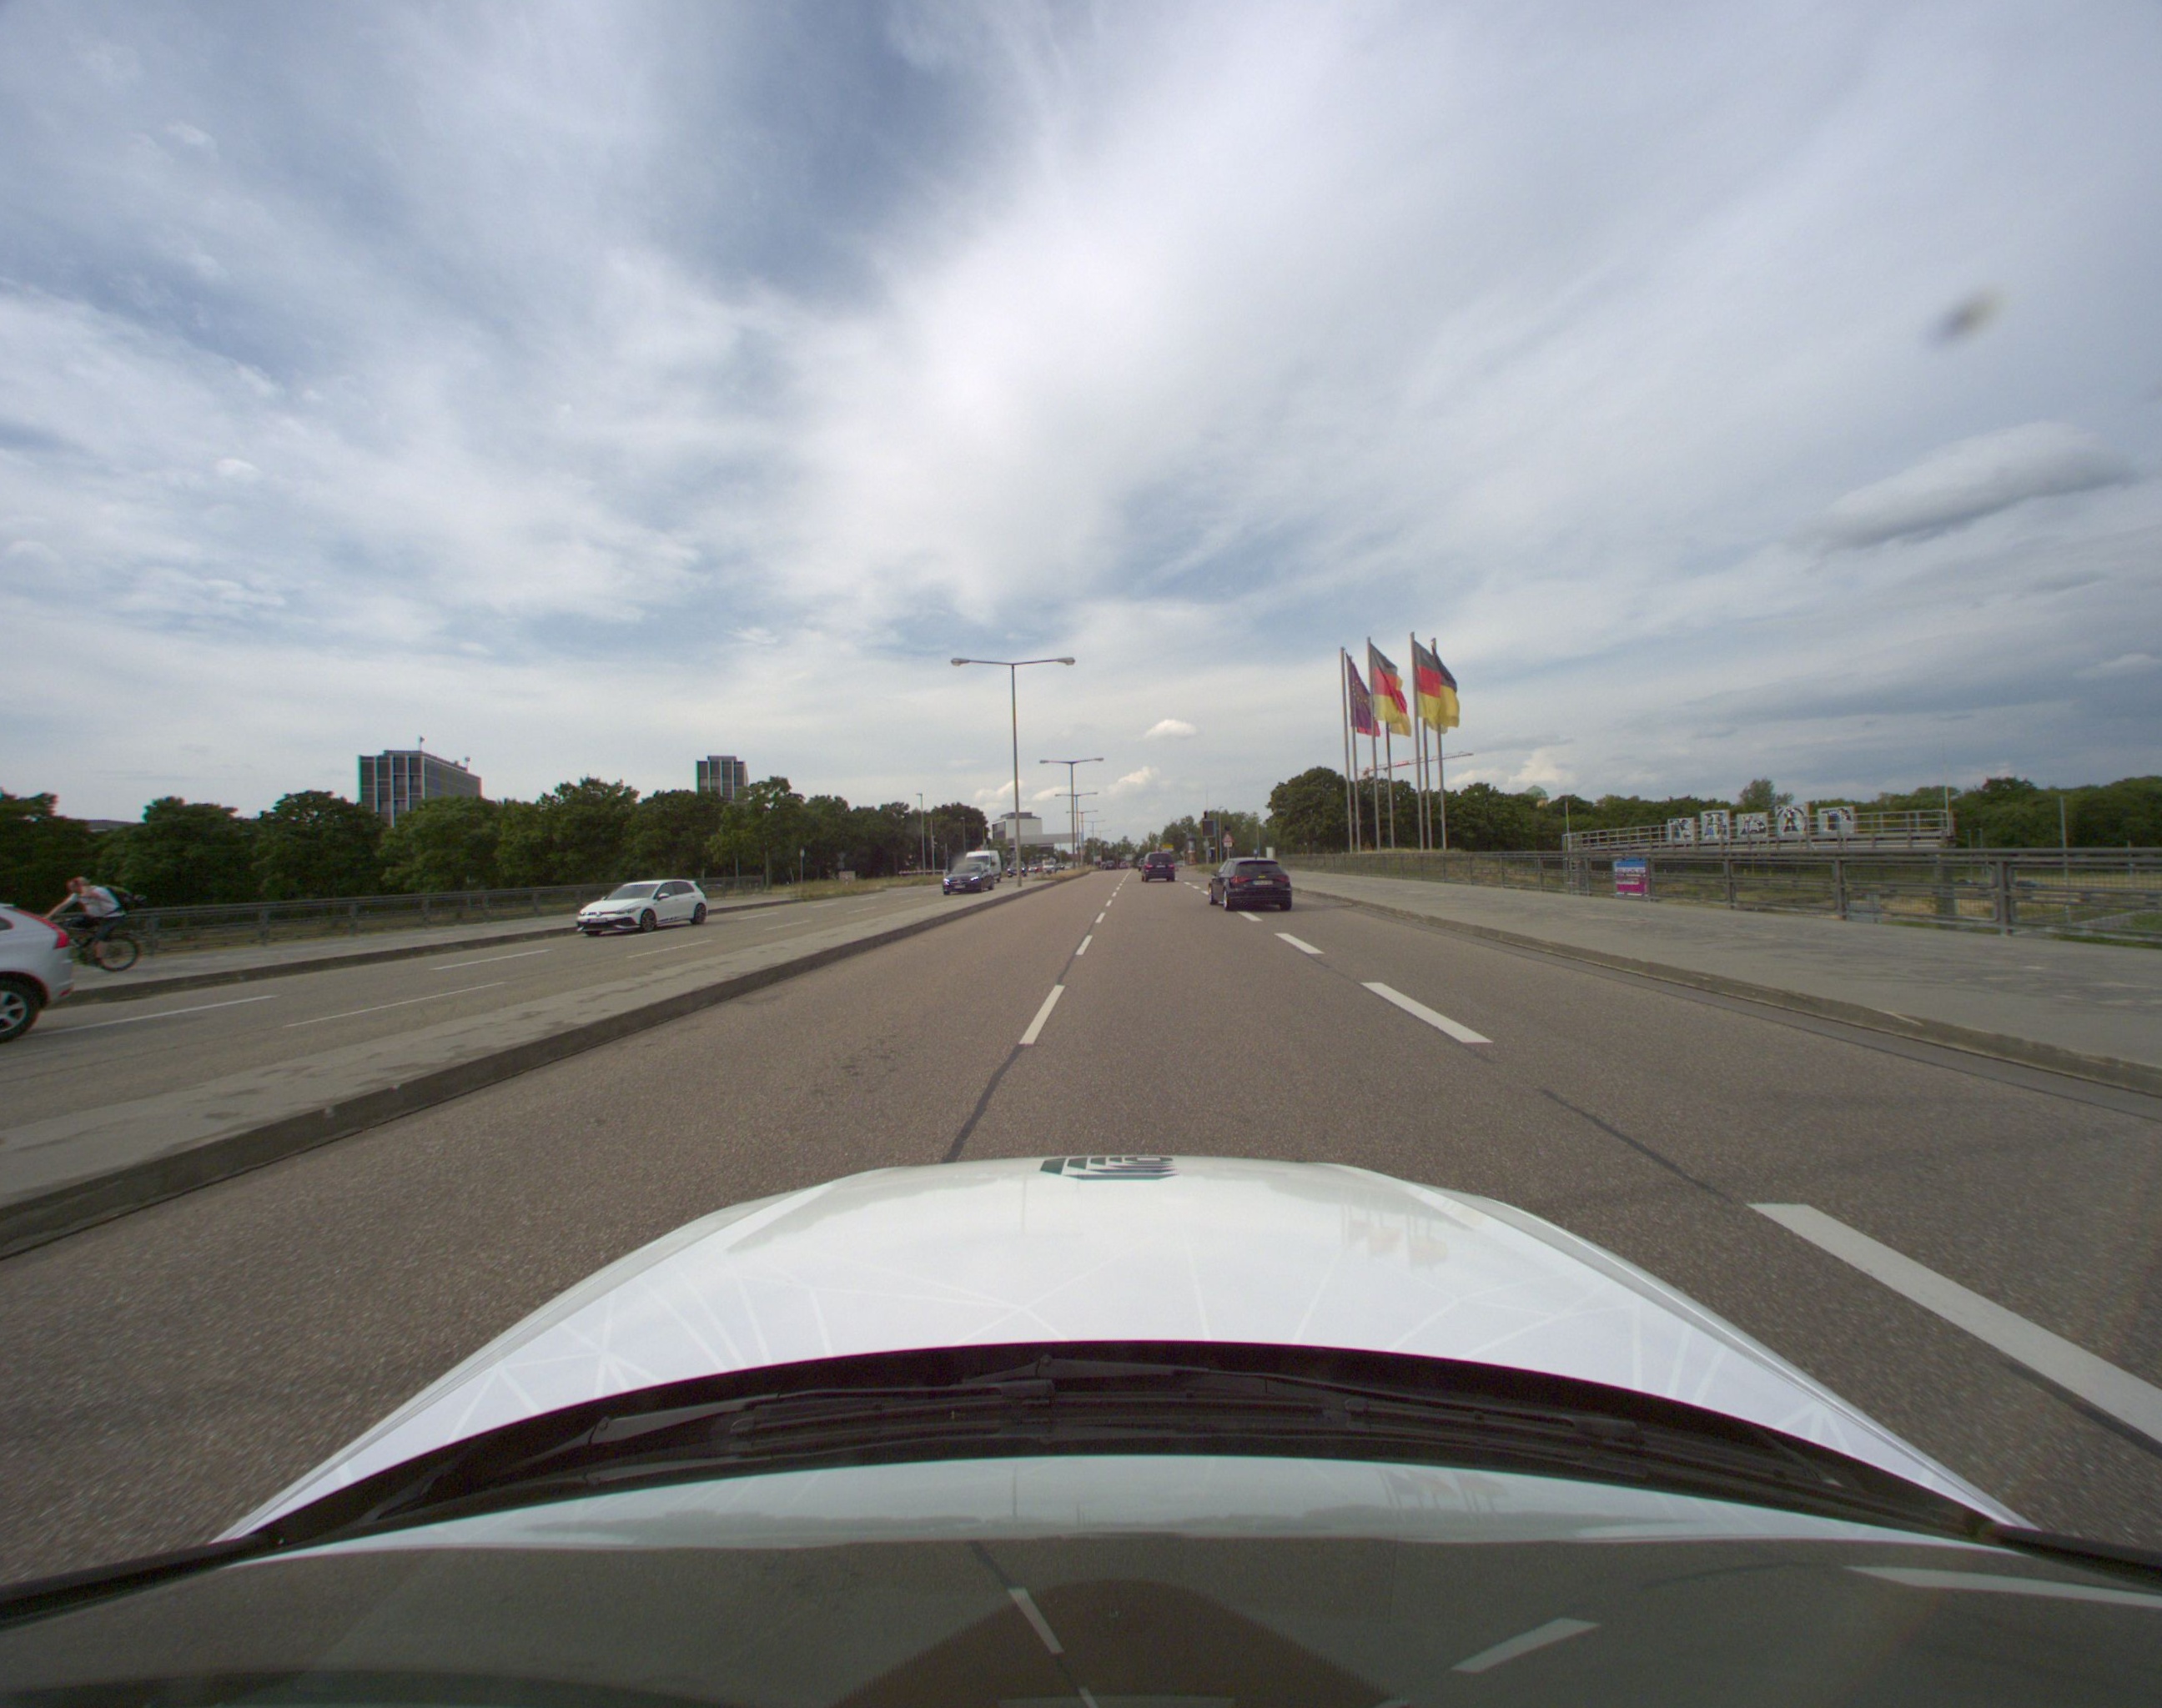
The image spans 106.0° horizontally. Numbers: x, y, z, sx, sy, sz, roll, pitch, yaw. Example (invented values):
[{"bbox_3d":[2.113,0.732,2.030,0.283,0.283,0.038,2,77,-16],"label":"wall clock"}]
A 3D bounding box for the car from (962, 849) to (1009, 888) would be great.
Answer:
[{"bbox_3d":[-7.081,1.051,61.122,2.043,2.643,6.410,-4,0,5],"label":"car"}]

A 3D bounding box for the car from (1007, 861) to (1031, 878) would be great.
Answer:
[{"bbox_3d":[-6.492,1.623,85.955,1.739,1.585,4.592,-4,0,5],"label":"car"}]

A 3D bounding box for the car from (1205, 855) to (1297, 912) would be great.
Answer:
[{"bbox_3d":[4.627,0.771,22.747,1.725,1.395,4.115,-2,-1,1],"label":"car"}]

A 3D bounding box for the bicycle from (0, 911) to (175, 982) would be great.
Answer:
[{"bbox_3d":[-17.868,1.619,14.701,0.703,1.049,2.060,-1,0,1],"label":"bicycle"}]

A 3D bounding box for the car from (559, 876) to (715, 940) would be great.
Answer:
[{"bbox_3d":[-12.729,1.484,23.741,1.730,1.480,4.477,-4,0,4],"label":"car"}]

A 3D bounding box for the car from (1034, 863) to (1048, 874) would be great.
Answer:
[{"bbox_3d":[-6.339,2.344,129.495,1.645,1.574,4.340,-4,-1,2],"label":"car"}]

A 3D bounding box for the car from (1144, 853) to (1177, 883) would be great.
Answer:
[{"bbox_3d":[4.636,0.825,47.959,1.723,1.653,4.117,-1,-1,3],"label":"car"}]

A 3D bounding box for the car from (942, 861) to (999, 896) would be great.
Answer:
[{"bbox_3d":[-5.234,1.144,39.214,1.731,1.481,4.780,-4,-1,3],"label":"car"}]

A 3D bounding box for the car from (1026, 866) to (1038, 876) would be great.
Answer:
[{"bbox_3d":[-9.150,3.105,151.987,1.987,1.750,4.001,-2,0,1],"label":"car"}]

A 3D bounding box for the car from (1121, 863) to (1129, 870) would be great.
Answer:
[{"bbox_3d":[9.752,2.729,179.253,1.723,1.526,4.118,-1,-1,3],"label":"car"}]

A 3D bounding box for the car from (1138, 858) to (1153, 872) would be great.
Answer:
[{"bbox_3d":[7.979,1.388,100.804,1.723,1.653,4.117,-1,-1,3],"label":"car"}]

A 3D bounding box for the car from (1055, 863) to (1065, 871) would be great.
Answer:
[{"bbox_3d":[-4.208,2.598,162.214,1.739,1.475,4.566,-3,-1,2],"label":"car"}]

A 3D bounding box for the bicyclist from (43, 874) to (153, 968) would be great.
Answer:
[{"bbox_3d":[-17.880,1.187,14.840,0.792,1.626,0.976,-1,-1,1],"label":"bicyclist"}]

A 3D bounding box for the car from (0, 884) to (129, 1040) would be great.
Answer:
[{"bbox_3d":[-13.278,1.294,8.047,1.854,1.725,4.776,-4,0,4],"label":"car"}]

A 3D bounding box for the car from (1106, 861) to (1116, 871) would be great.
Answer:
[{"bbox_3d":[5.210,2.110,141.015,1.723,1.653,4.117,-1,-1,3],"label":"car"}]

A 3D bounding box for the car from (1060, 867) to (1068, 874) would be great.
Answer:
[{"bbox_3d":[-4.164,4.039,203.521,1.739,1.598,4.565,-3,-1,1],"label":"car"}]

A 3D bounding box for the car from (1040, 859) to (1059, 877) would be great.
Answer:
[{"bbox_3d":[-3.397,1.496,88.943,1.533,1.871,3.575,-4,0,5],"label":"car"}]
